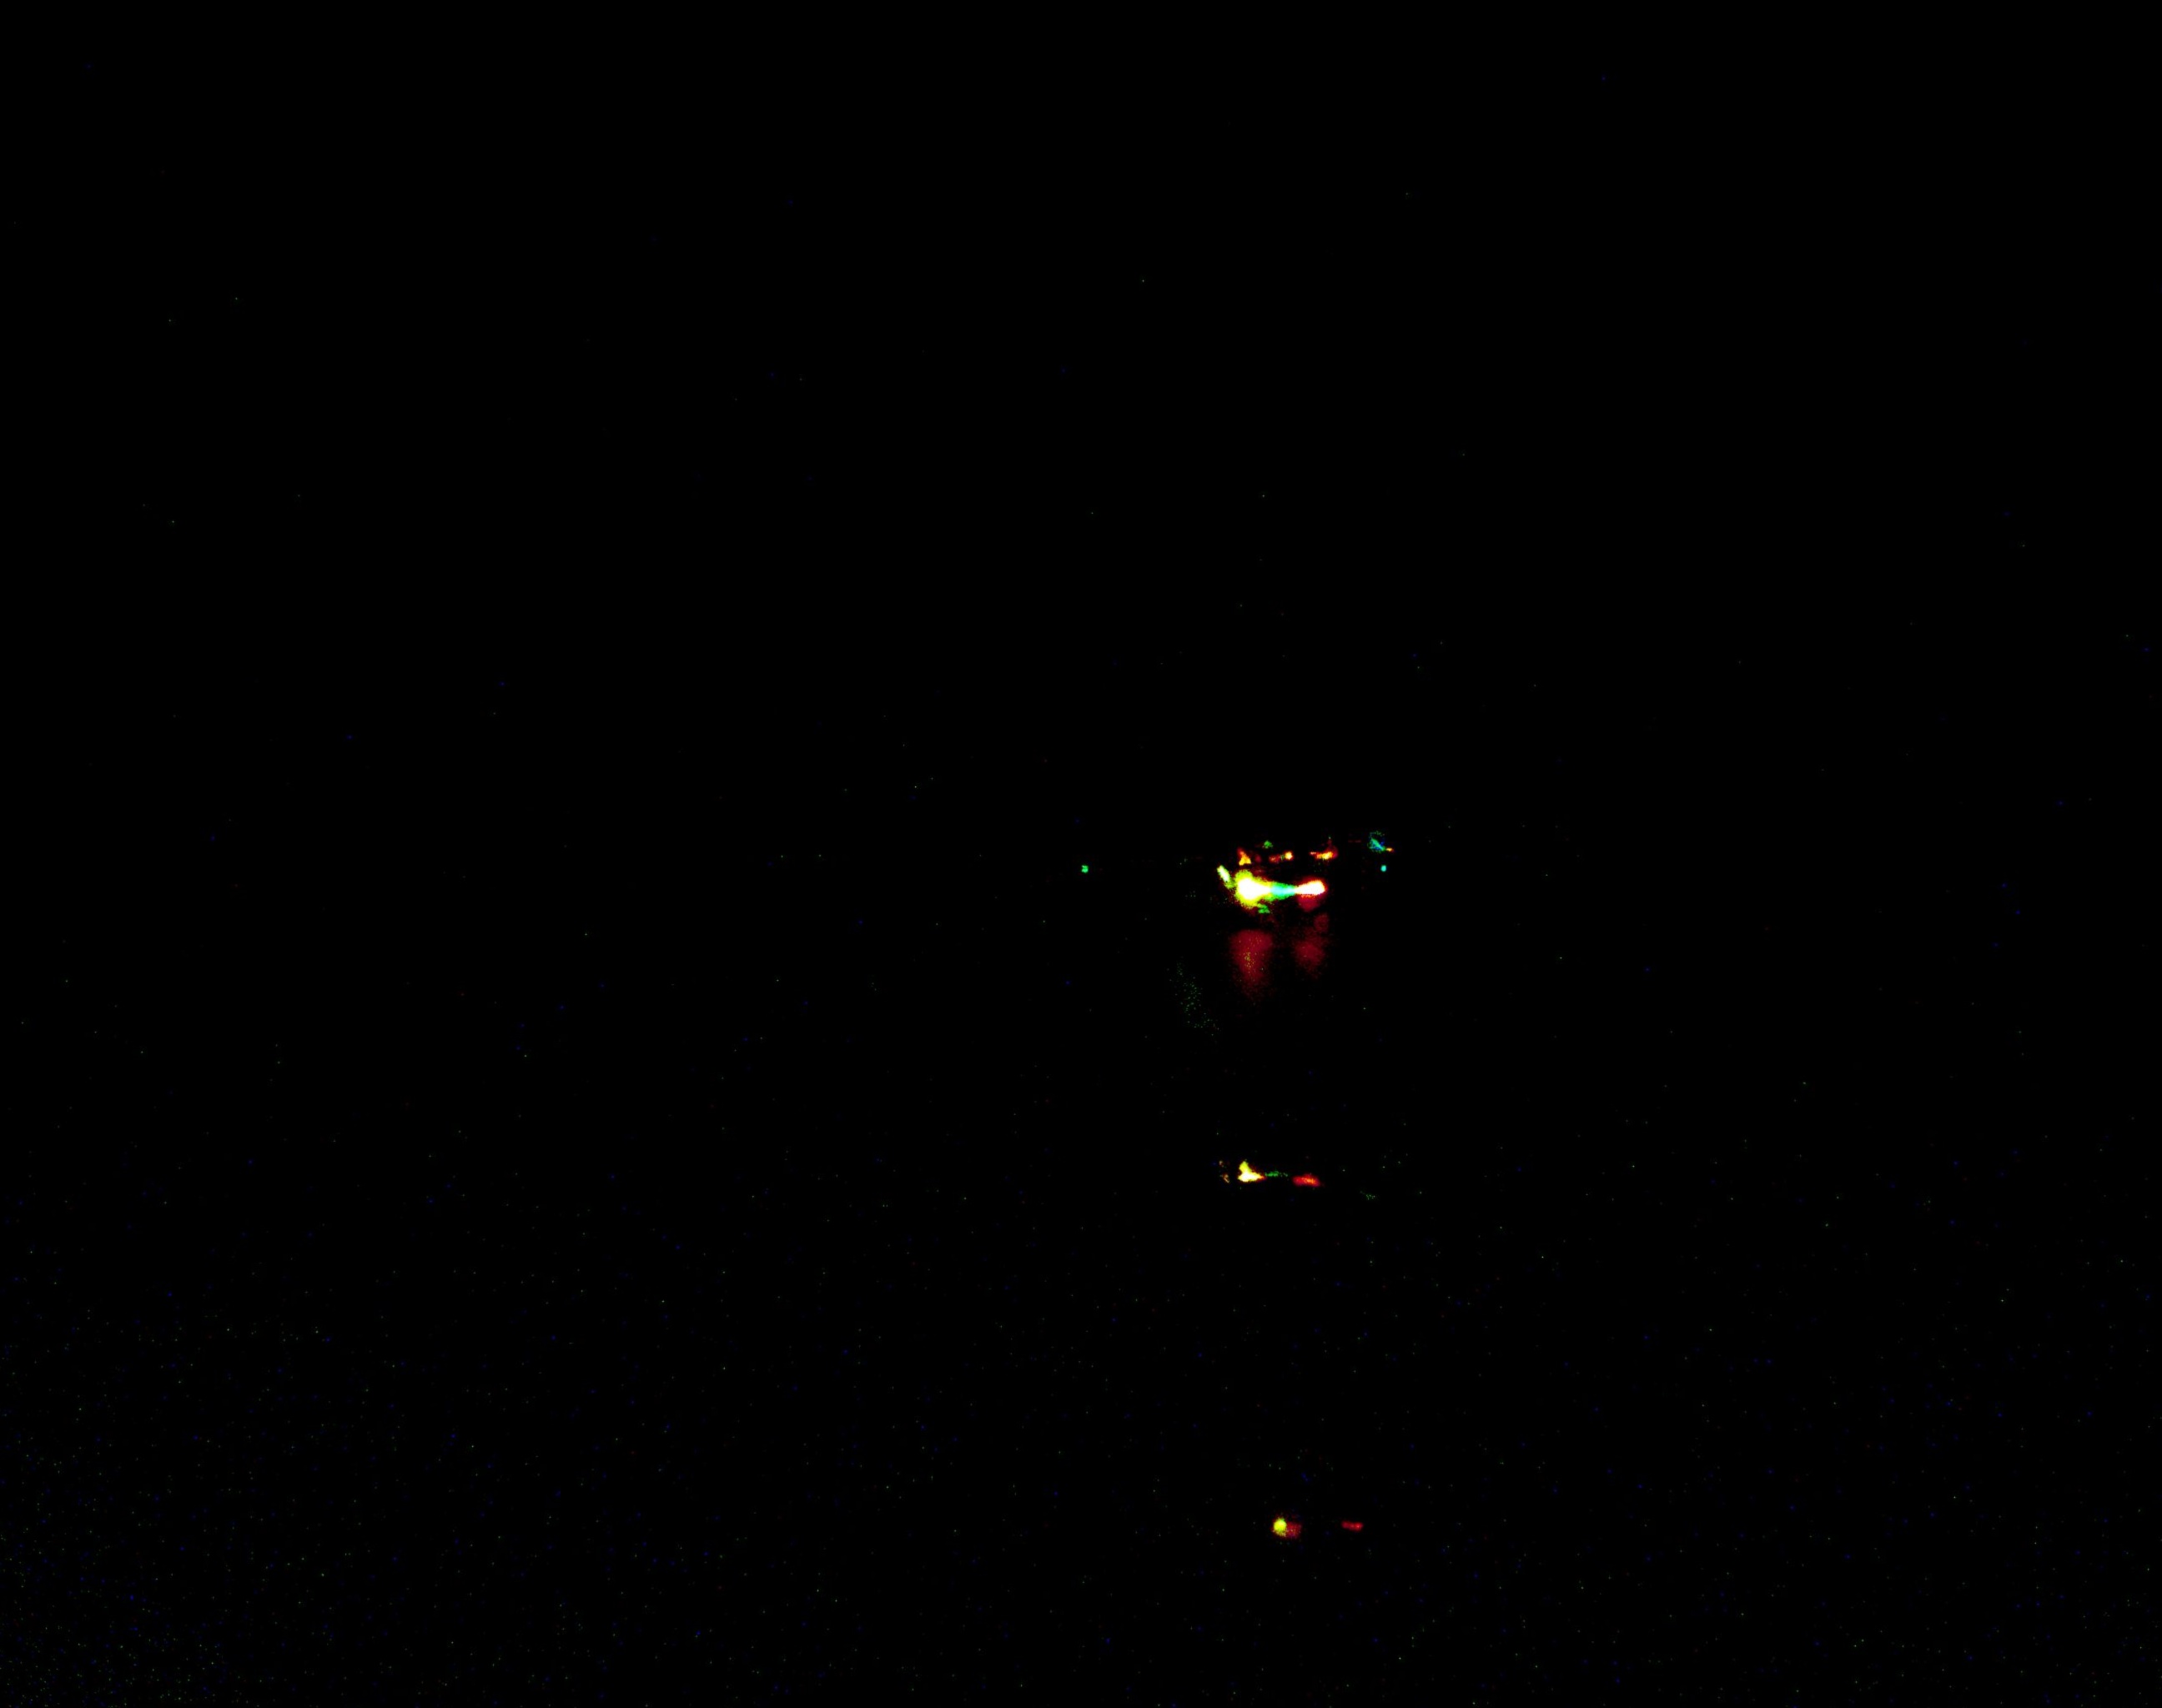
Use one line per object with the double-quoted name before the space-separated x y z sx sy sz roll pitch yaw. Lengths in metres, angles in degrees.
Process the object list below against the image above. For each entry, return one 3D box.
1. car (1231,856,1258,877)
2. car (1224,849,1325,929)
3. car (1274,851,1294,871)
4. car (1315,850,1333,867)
"car" 14.323 1.105 71.264 1.880 1.720 4.063 -1 -1 17
"car" 4.426 0.739 19.157 1.851 1.647 4.076 1 0 7
"car" 21.407 0.721 85.859 1.881 2.040 4.062 -1 -1 15
"car" 31.162 0.590 104.479 1.879 1.998 4.066 -1 -1 20
